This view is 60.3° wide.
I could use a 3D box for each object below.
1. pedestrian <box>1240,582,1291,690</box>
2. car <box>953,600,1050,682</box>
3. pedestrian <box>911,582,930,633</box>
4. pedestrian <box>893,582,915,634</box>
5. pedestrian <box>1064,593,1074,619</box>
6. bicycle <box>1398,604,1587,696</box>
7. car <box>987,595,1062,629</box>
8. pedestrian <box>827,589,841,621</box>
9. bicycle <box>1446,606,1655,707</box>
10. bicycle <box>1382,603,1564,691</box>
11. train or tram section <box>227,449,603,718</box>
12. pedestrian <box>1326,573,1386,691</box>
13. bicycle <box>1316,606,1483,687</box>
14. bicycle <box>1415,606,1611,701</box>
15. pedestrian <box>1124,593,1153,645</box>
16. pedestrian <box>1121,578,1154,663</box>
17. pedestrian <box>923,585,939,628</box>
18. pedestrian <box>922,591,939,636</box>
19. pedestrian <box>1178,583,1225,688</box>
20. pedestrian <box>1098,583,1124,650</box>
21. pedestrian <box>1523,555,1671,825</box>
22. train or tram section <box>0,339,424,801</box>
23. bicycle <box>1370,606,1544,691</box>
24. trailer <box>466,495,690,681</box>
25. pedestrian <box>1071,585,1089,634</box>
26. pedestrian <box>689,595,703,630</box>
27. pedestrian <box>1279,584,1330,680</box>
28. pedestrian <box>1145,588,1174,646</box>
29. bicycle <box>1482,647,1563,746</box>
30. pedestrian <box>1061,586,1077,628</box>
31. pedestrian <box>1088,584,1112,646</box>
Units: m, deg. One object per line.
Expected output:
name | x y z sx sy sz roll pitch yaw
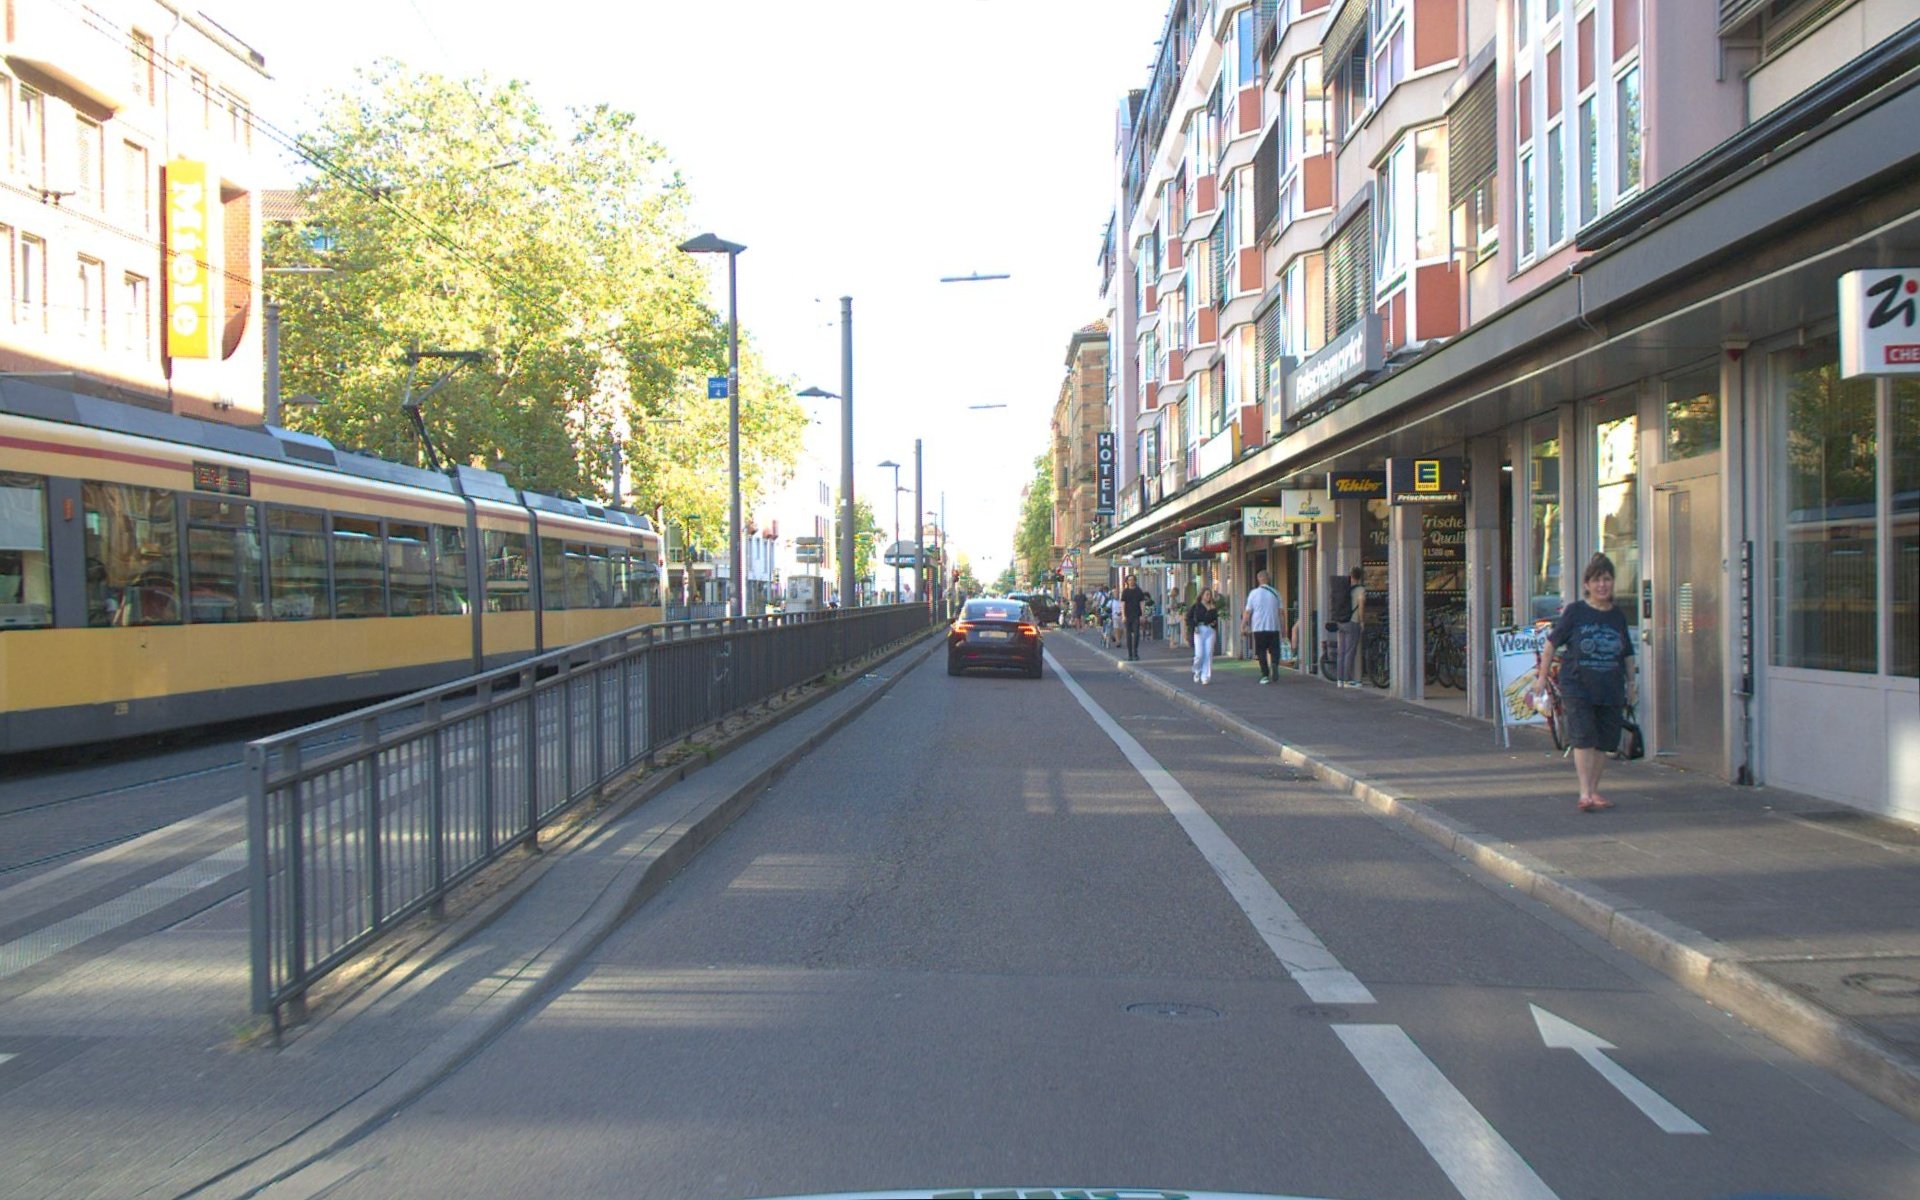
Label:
pedestrian | 4.892 0.575 26.536 0.682 1.707 0.750 0 0 2
car | 0.820 0.781 32.370 1.753 1.476 3.940 1 -1 2
pedestrian | -1.420 0.272 59.758 0.664 1.800 0.663 0 0 -1
pedestrian | -1.973 0.276 58.235 0.742 1.800 0.699 0 0 0
pedestrian | 7.989 0.462 121.120 0.682 1.911 0.750 0 0 2
bicycle | 7.441 0.685 23.178 2.379 1.238 0.796 0 0 -1
car | 3.373 0.627 86.514 3.630 1.694 1.738 0 0 -11
pedestrian | -7.791 0.307 102.313 0.731 1.930 0.699 0 0 8
bicycle | 7.499 0.707 21.067 2.379 1.238 0.796 0 0 -1
bicycle | 7.428 0.669 24.015 2.379 1.238 0.796 0 0 -1
train or tram section | -8.451 -0.220 27.395 2.657 3.608 10.170 0 0 1
pedestrian | 5.840 0.464 24.407 0.732 1.707 0.699 0 0 2
bicycle | 6.869 0.718 25.915 2.379 1.238 0.829 0 0 -1
bicycle | 7.445 0.708 22.347 2.379 1.238 0.796 0 0 -1
pedestrian | 5.699 0.597 52.835 0.824 1.635 0.788 0 0 2
pedestrian | 4.092 0.477 38.093 0.682 1.930 0.750 0 0 2
pedestrian | -1.225 0.277 69.053 0.664 1.800 0.663 0 0 -1
pedestrian | -1.192 0.534 66.349 0.664 1.800 0.663 0 0 -1
pedestrian | 3.982 0.582 27.288 0.682 1.707 0.750 0 0 2
pedestrian | 4.397 0.477 48.149 0.682 1.930 0.750 0 0 2
pedestrian | 4.164 0.570 10.860 0.682 1.707 0.750 0 0 2
train or tram section | -8.699 -0.225 17.255 2.672 3.604 10.088 0 0 2
bicycle | 7.448 0.720 24.858 2.379 1.238 0.796 0 0 -1
trailer | -8.250 -0.233 37.116 2.657 3.608 9.360 0 0 1
pedestrian | 4.696 0.371 64.833 0.682 1.930 0.750 0 0 2
pedestrian | -14.716 0.699 92.151 0.733 1.930 0.698 0 0 -5
pedestrian | 6.129 0.562 29.456 0.722 1.681 0.718 0 0 -1
pedestrian | 6.237 0.528 51.832 0.824 1.787 0.788 0 0 2
bicycle | 5.337 0.897 15.734 0.406 0.872 1.238 0 0 3
pedestrian | 5.084 0.312 77.320 0.682 1.930 0.750 0 0 2
pedestrian | 4.387 0.470 51.776 0.682 1.930 0.750 0 0 2
